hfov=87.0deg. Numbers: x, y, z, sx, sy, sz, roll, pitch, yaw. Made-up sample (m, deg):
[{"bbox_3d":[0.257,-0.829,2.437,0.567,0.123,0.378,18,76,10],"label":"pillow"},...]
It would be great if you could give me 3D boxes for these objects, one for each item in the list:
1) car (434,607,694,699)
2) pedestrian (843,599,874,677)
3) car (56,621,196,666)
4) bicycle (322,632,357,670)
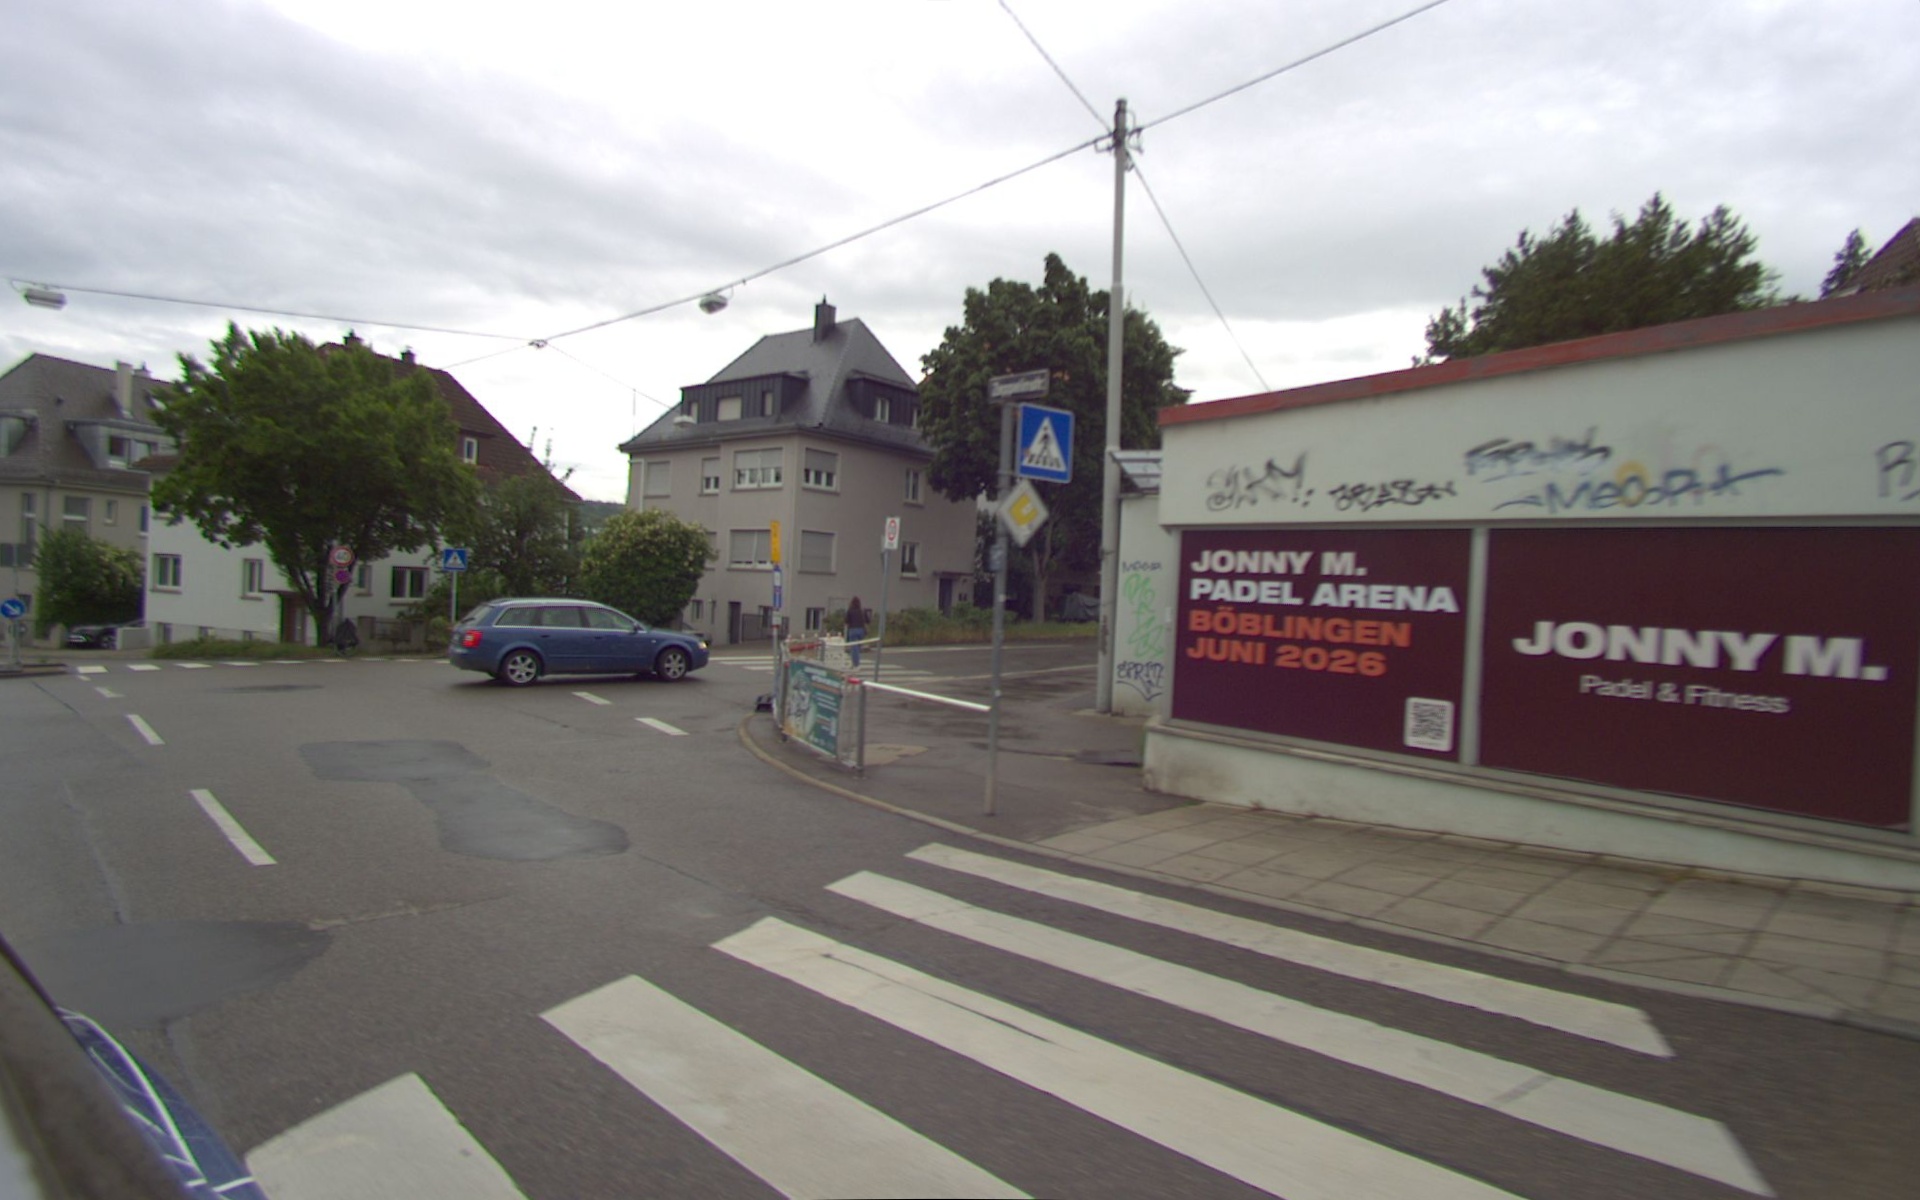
[{"bbox_3d":[-7.032,0.889,18.099,4.013,1.450,1.822,1,-1,-34],"label":"car"},{"bbox_3d":[-2.249,0.843,22.468,0.616,1.702,0.585,1,-2,-9],"label":"pedestrian"},{"bbox_3d":[-35.748,1.826,43.517,1.986,1.635,4.225,0,1,21],"label":"car"},{"bbox_3d":[-18.960,1.561,30.900,1.964,1.093,0.416,-4,-2,44],"label":"bicycle"}]
